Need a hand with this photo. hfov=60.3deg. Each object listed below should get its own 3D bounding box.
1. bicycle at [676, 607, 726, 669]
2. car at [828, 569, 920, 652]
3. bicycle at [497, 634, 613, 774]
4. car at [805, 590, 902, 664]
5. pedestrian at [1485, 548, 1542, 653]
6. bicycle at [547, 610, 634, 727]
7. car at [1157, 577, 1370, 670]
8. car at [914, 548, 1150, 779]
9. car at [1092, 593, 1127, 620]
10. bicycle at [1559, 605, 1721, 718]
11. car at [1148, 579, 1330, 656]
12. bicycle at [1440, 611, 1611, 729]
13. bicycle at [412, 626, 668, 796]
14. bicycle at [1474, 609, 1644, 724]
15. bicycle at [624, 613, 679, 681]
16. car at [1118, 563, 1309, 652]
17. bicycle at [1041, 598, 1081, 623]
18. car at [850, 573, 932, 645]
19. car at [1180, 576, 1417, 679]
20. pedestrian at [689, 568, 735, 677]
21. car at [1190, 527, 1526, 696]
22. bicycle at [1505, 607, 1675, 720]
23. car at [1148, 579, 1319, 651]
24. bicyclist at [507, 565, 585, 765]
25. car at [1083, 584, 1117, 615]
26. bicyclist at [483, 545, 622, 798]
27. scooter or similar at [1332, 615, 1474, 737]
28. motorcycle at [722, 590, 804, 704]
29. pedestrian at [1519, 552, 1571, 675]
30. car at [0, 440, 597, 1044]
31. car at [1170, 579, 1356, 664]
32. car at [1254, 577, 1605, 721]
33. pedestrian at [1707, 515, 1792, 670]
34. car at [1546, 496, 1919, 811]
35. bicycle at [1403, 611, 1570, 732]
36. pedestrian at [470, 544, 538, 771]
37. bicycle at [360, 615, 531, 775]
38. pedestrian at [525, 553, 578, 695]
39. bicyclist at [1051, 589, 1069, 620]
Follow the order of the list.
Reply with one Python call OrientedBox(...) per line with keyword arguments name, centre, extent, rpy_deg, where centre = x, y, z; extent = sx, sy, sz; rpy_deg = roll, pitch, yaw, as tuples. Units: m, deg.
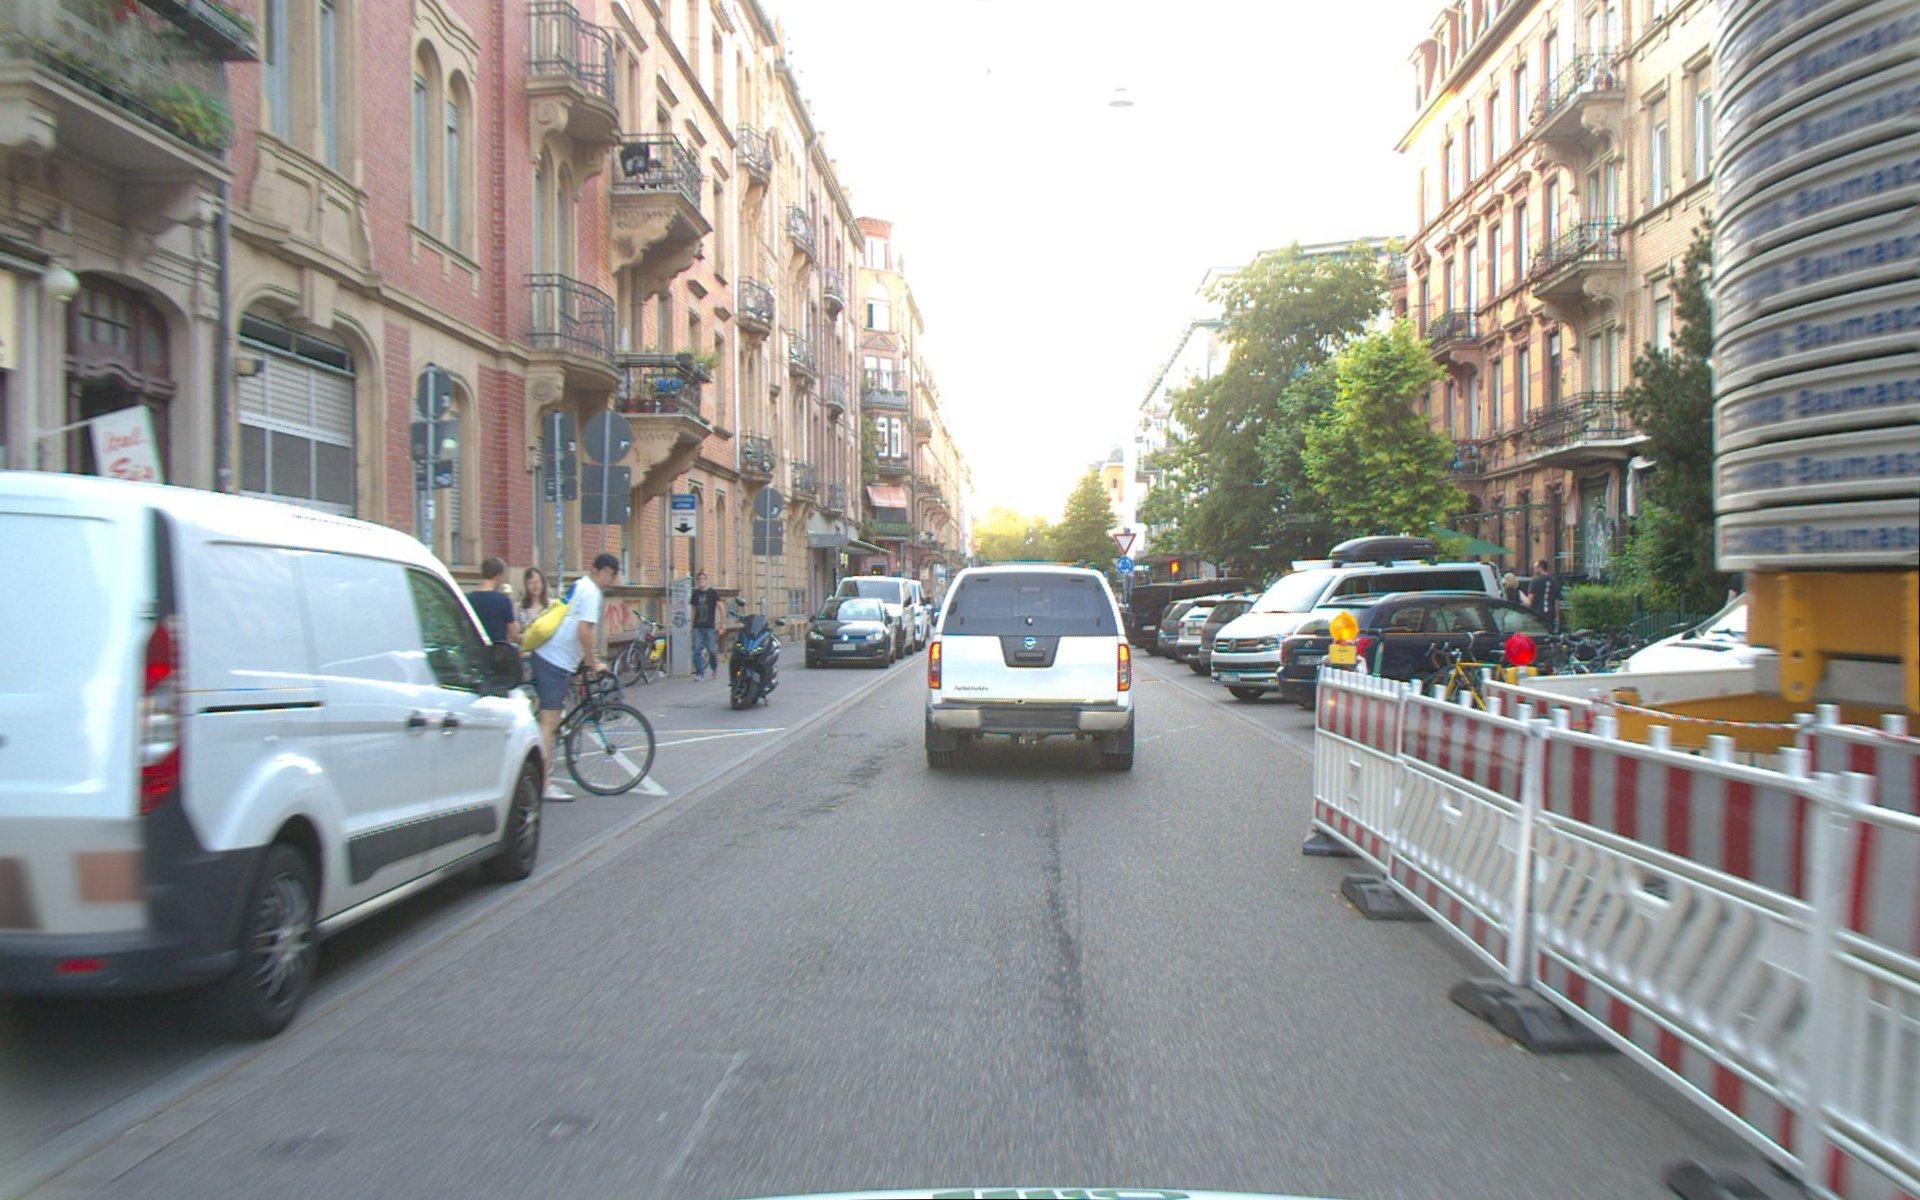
OrientedBox(name="bicycle", centre=(-4.883, 0.707, 31.266), extent=(0.735, 1.120, 2.023), rpy_deg=(1, 0, -4))
OrientedBox(name="car", centre=(-2.086, 0.251, 41.386), extent=(1.798, 1.955, 4.847), rpy_deg=(0, 0, 3))
OrientedBox(name="bicycle", centre=(-3.406, 0.849, 14.011), extent=(0.456, 1.087, 1.521), rpy_deg=(1, -1, 5))
OrientedBox(name="car", centre=(-2.231, 0.544, 35.584), extent=(1.799, 1.496, 4.173), rpy_deg=(0, 0, 0))
OrientedBox(name="pedestrian", centre=(9.152, 0.006, 27.348), extent=(0.614, 1.710, 0.652), rpy_deg=(1, -1, -19))
OrientedBox(name="bicycle", centre=(-3.911, 0.700, 17.617), extent=(0.403, 1.180, 1.838), rpy_deg=(1, -1, 3))
OrientedBox(name="car", centre=(6.254, 0.460, 33.988), extent=(4.051, 1.618, 1.801), rpy_deg=(-3, 1, -29))
OrientedBox(name="car", centre=(0.823, 0.531, 15.963), extent=(1.897, 1.842, 5.004), rpy_deg=(1, 0, 6))
OrientedBox(name="car", centre=(8.871, 0.379, 98.536), extent=(1.796, 1.569, 4.000), rpy_deg=(1, 0, 1))
OrientedBox(name="bicycle", centre=(7.523, 0.651, 18.377), extent=(0.489, 1.156, 1.800), rpy_deg=(-2, 1, -25))
OrientedBox(name="car", centre=(6.692, 0.398, 39.573), extent=(4.052, 1.578, 1.801), rpy_deg=(-3, 1, -30))
OrientedBox(name="bicycle", centre=(5.970, 0.708, 17.542), extent=(0.490, 1.156, 1.794), rpy_deg=(-3, 1, -32))
OrientedBox(name="bicycle", centre=(-3.045, 0.788, 12.007), extent=(1.750, 1.175, 0.518), rpy_deg=(1, -1, -20))
OrientedBox(name="bicycle", centre=(6.438, 0.687, 17.867), extent=(0.490, 1.156, 1.794), rpy_deg=(-3, 1, -32))
OrientedBox(name="bicycle", centre=(-4.926, 0.736, 26.494), extent=(0.438, 1.048, 1.741), rpy_deg=(1, 0, 3))
OrientedBox(name="car", centre=(7.038, 0.174, 45.584), extent=(5.378, 2.108, 1.908), rpy_deg=(-4, 1, -36))
OrientedBox(name="bicycle", centre=(4.955, 0.533, 81.347), extent=(1.890, 1.192, 0.596), rpy_deg=(1, -1, 0))
OrientedBox(name="car", centre=(-1.928, 0.251, 47.529), extent=(2.066, 1.955, 5.026), rpy_deg=(0, 0, 1))
OrientedBox(name="car", centre=(6.373, 0.476, 31.061), extent=(4.108, 1.618, 1.868), rpy_deg=(-3, 1, -29))
OrientedBox(name="pedestrian", centre=(-4.277, 0.384, 28.565), extent=(0.668, 1.842, 0.961), rpy_deg=(1, -1, -3))
OrientedBox(name="car", centre=(6.150, 0.113, 25.526), extent=(4.858, 2.403, 1.985), rpy_deg=(-1, 0, -24))
OrientedBox(name="bicycle", centre=(6.887, 0.664, 18.168), extent=(0.490, 1.156, 1.794), rpy_deg=(-3, 1, -32))
OrientedBox(name="car", centre=(6.994, 0.367, 42.244), extent=(4.052, 1.578, 1.801), rpy_deg=(-3, 1, -30))
OrientedBox(name="bicyclist", centre=(-3.429, 0.531, 13.725), extent=(0.456, 1.618, 0.487), rpy_deg=(1, -1, 5))
OrientedBox(name="car", centre=(9.078, -0.020, 107.320), extent=(1.902, 1.967, 4.000), rpy_deg=(1, 0, 1))
OrientedBox(name="bicyclist", centre=(-2.891, 0.488, 11.749), extent=(0.771, 1.733, 0.529), rpy_deg=(1, -1, 23))
OrientedBox(name="scooter or similar", centre=(4.565, 0.756, 17.137), extent=(0.645, 1.170, 1.475), rpy_deg=(-2, 1, -21))
OrientedBox(name="motorcycle", centre=(-2.592, 0.603, 21.981), extent=(0.670, 1.429, 2.015), rpy_deg=(1, -1, 5))
OrientedBox(name="pedestrian", centre=(9.866, 0.224, 27.913), extent=(0.611, 2.049, 0.655), rpy_deg=(1, -1, -1))
OrientedBox(name="car", centre=(-3.006, 0.439, 7.301), extent=(1.734, 1.820, 4.587), rpy_deg=(1, 0, 0))
OrientedBox(name="car", centre=(6.839, 0.456, 37.181), extent=(4.064, 1.618, 1.795), rpy_deg=(-4, 1, -36))
OrientedBox(name="car", centre=(5.665, 0.534, 19.982), extent=(3.804, 1.542, 1.834), rpy_deg=(-1, 0, -24))
OrientedBox(name="pedestrian", centre=(9.447, -0.087, 19.820), extent=(0.670, 1.780, 0.827), rpy_deg=(-3, -1, 14))
OrientedBox(name="car", centre=(7.072, 0.256, 11.789), extent=(5.066, 1.989, 1.900), rpy_deg=(-3, 1, 1))
OrientedBox(name="bicycle", centre=(5.446, 0.707, 17.202), extent=(0.489, 1.156, 1.797), rpy_deg=(-2, 1, -29))
OrientedBox(name="pedestrian", centre=(-3.555, 0.442, 12.902), extent=(0.409, 1.739, 0.350), rpy_deg=(1, -1, -3))
OrientedBox(name="bicycle", centre=(-4.075, 0.714, 13.258), extent=(0.456, 1.175, 2.002), rpy_deg=(1, -1, 9))
OrientedBox(name="pedestrian", centre=(-5.351, 0.313, 21.706), extent=(0.453, 1.821, 0.642), rpy_deg=(1, -1, 6))
OrientedBox(name="bicyclist", centre=(4.908, 0.208, 81.359), extent=(0.853, 1.491, 0.576), rpy_deg=(1, -1, 0))
